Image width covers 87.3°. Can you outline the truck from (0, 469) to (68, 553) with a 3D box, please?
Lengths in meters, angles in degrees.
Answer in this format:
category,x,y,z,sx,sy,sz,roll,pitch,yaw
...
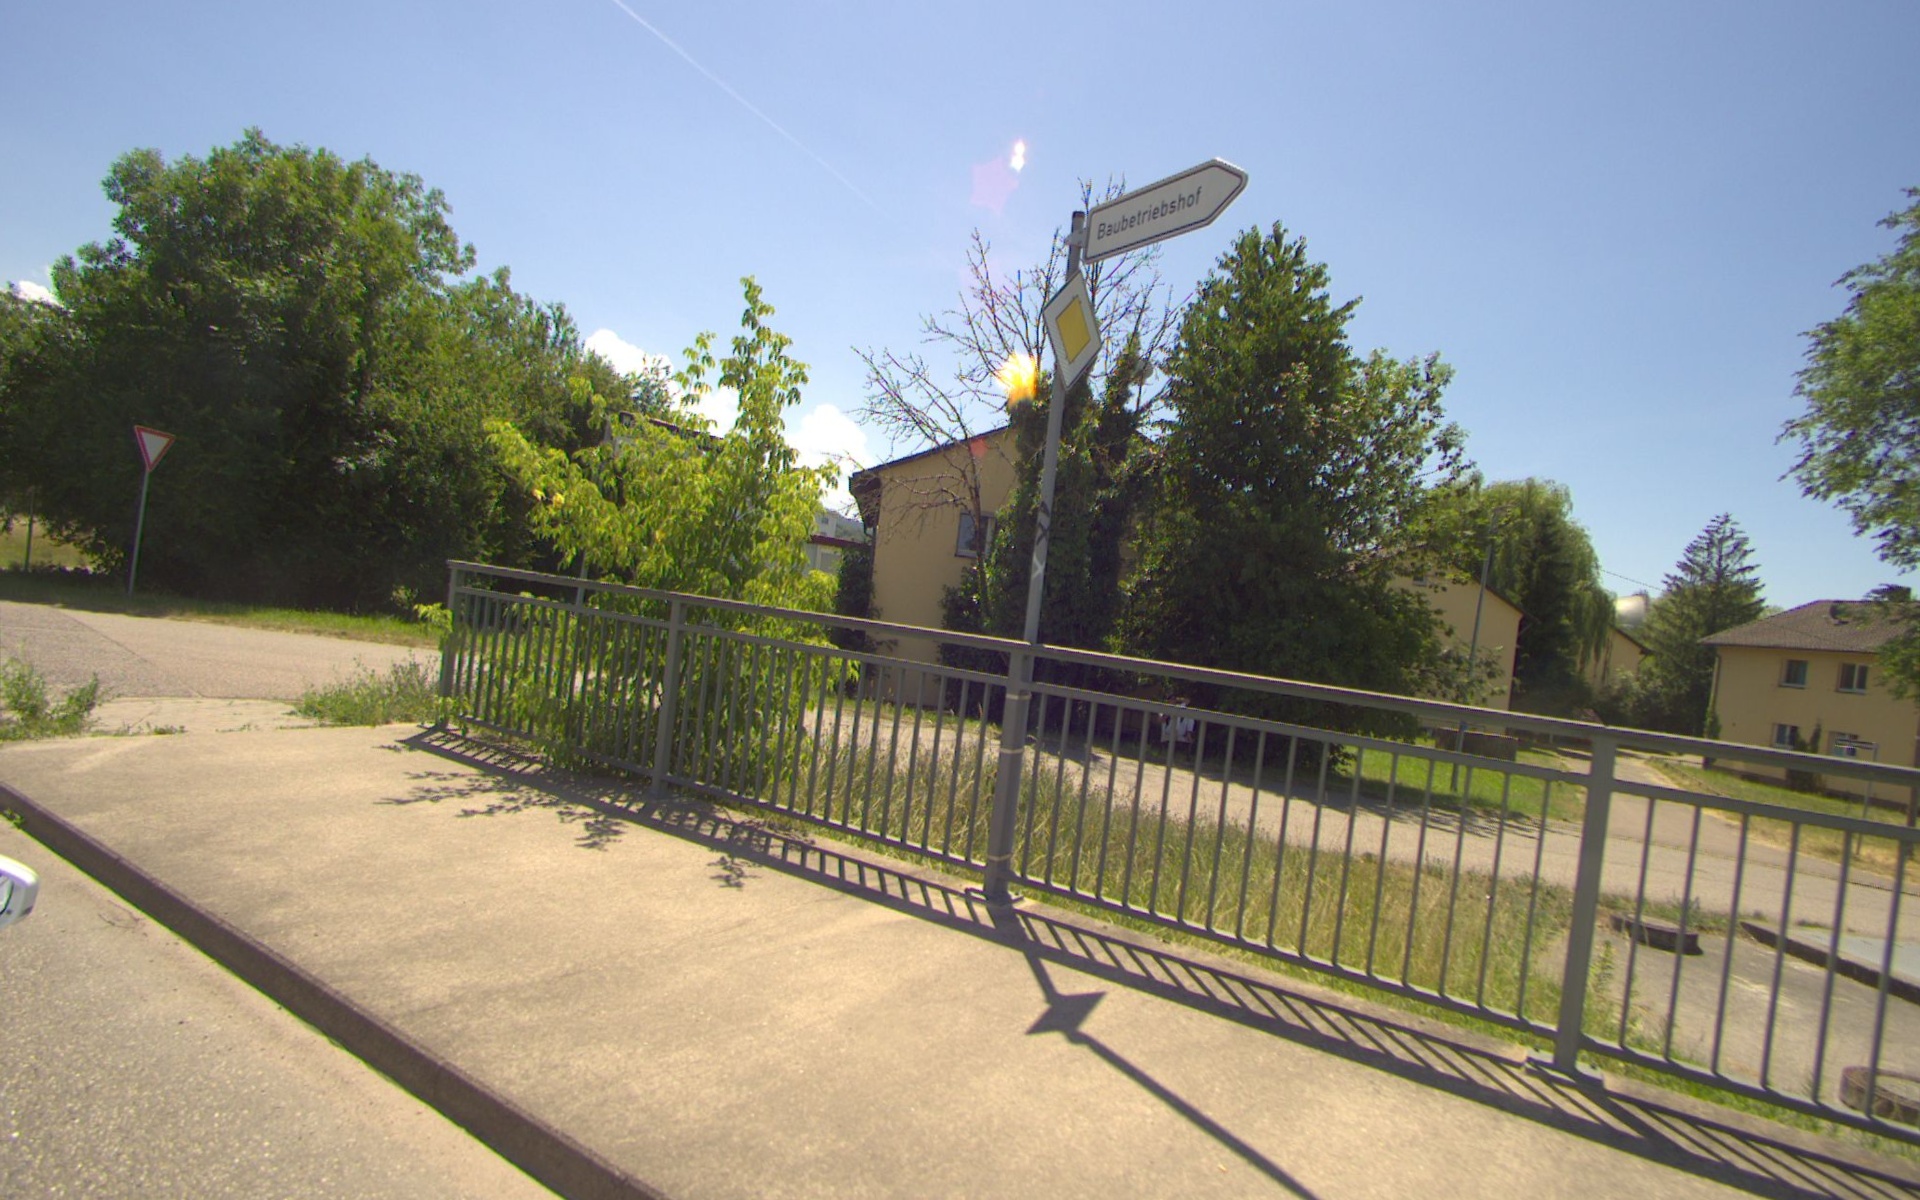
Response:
category,x,y,z,sx,sy,sz,roll,pitch,yaw
truck,-55.065,-5.400,52.742,2.957,4.229,11.784,6,-2,33

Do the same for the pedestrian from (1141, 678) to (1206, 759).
category,x,y,z,sx,sy,sz,roll,pitch,yaw
pedestrian,4.180,2.306,19.704,0.839,1.412,0.679,11,5,44
